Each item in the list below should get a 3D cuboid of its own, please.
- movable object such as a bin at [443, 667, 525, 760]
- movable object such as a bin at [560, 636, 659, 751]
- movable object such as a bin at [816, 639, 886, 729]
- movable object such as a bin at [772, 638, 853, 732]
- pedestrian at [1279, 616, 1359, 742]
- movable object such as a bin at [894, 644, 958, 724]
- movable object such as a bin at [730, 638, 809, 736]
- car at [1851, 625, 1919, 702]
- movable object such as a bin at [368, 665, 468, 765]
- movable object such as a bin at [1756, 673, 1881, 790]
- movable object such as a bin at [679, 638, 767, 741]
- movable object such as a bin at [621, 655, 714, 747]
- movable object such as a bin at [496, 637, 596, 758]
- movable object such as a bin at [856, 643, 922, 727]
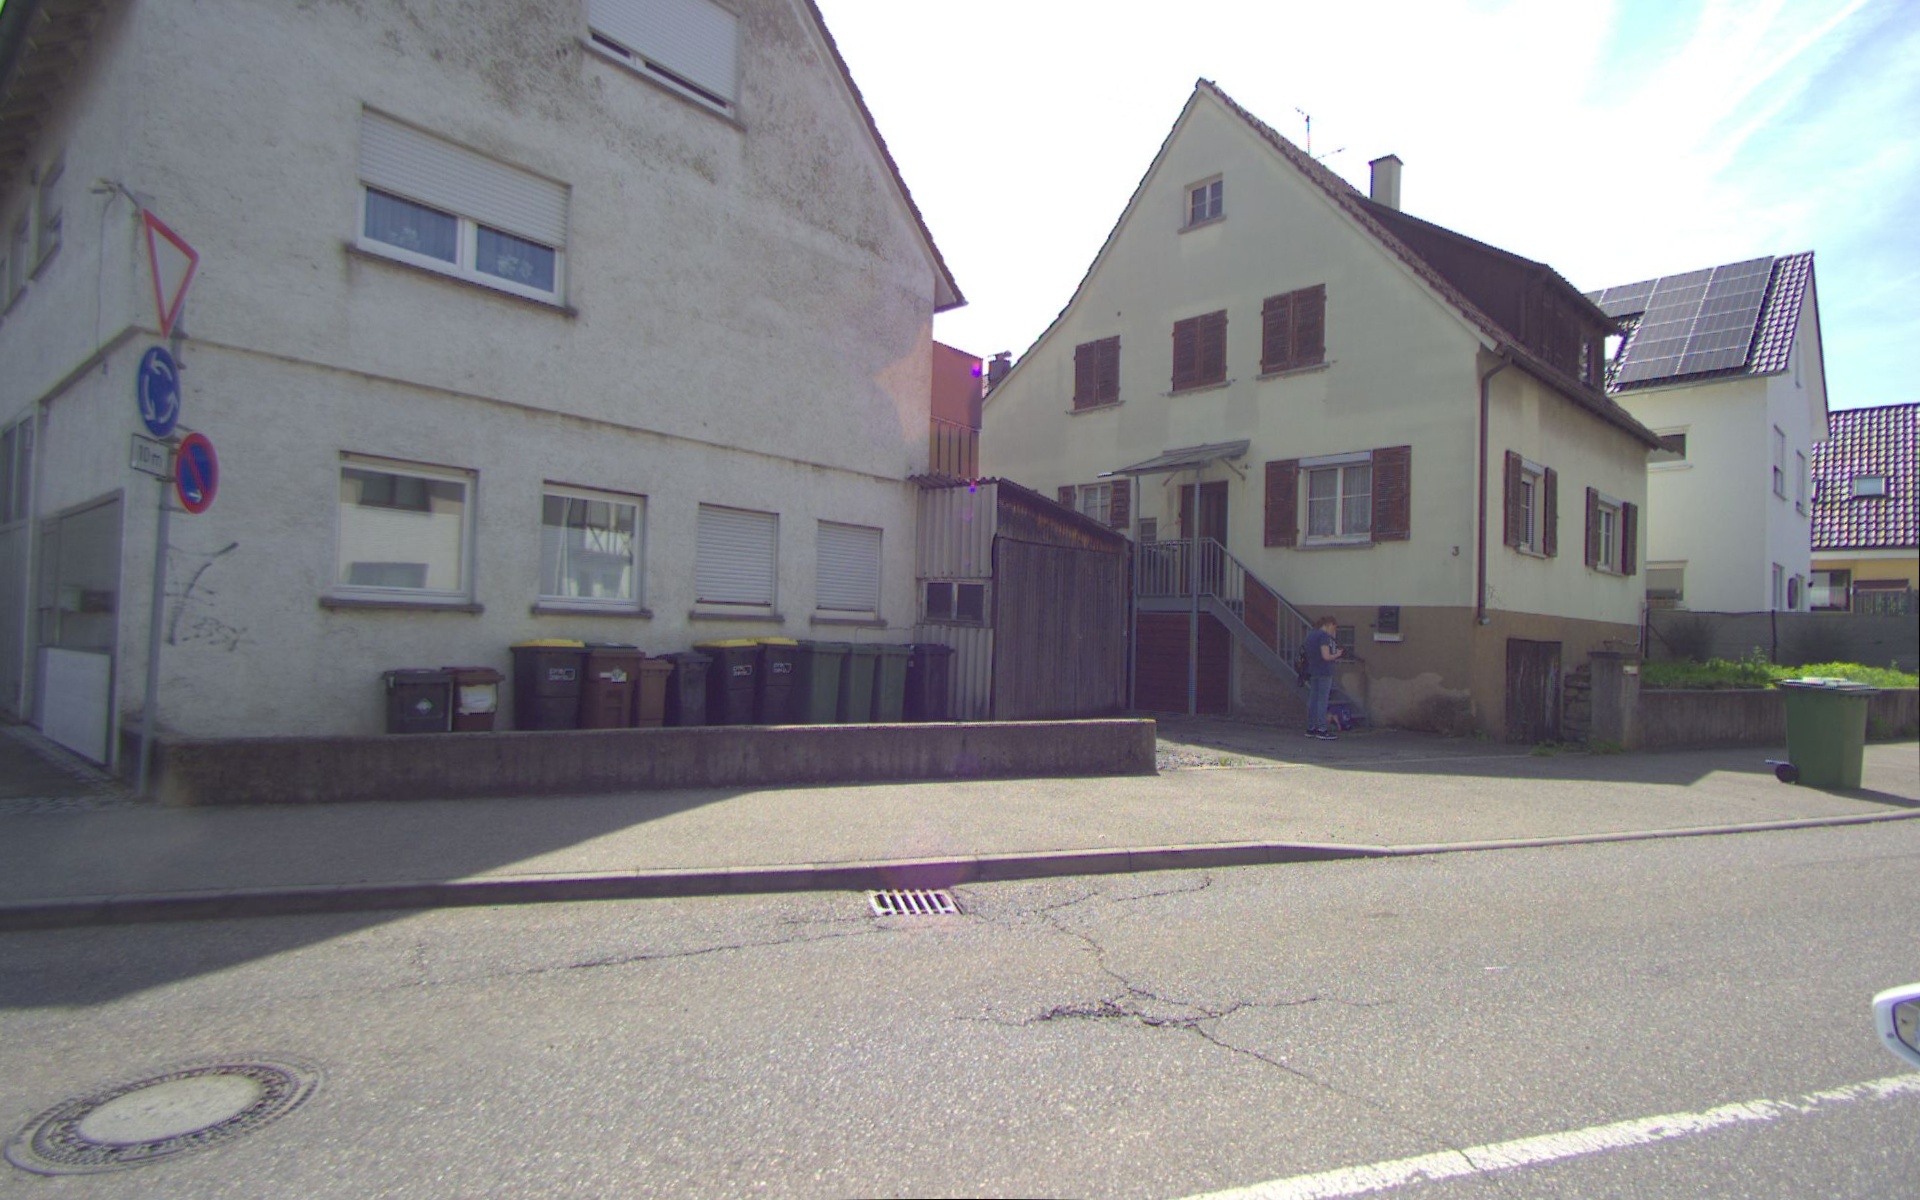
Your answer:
[{"bbox_3d":[-4.453,1.047,9.410,0.479,0.791,0.525,1,-1,38],"label":"movable object such as a bin"},{"bbox_3d":[-3.606,0.935,10.335,0.674,1.100,0.695,1,-1,38],"label":"movable object such as a bin"},{"bbox_3d":[-1.410,1.068,12.977,0.670,1.096,0.581,1,-1,38],"label":"movable object such as a bin"},{"bbox_3d":[-1.830,1.038,12.488,0.729,1.096,0.657,1,-1,38],"label":"movable object such as a bin"},{"bbox_3d":[4.737,1.012,13.275,0.621,1.595,0.772,1,0,-34],"label":"pedestrian"},{"bbox_3d":[-0.463,1.138,13.829,0.621,1.048,0.610,1,-1,38],"label":"movable object such as a bin"},{"bbox_3d":[-2.270,1.020,11.969,0.674,1.096,0.623,1,-1,38],"label":"movable object such as a bin"},{"bbox_3d":[22.000,1.400,21.296,1.982,1.644,4.368,3,-2,-37],"label":"car"},{"bbox_3d":[-4.828,1.005,8.950,0.479,0.816,0.643,1,-1,40],"label":"movable object such as a bin"},{"bbox_3d":[8.695,1.306,10.187,0.643,1.071,0.788,1,-1,-29],"label":"movable object such as a bin"},{"bbox_3d":[-2.695,0.996,11.444,0.674,1.096,0.695,1,-1,38],"label":"movable object such as a bin"},{"bbox_3d":[-3.170,1.072,10.908,0.674,0.908,0.695,1,-1,38],"label":"movable object such as a bin"},{"bbox_3d":[-4.033,0.926,9.795,0.674,1.100,0.642,1,-1,38],"label":"movable object such as a bin"},{"bbox_3d":[-0.947,1.114,13.390,0.619,1.049,0.601,1,-1,38],"label":"movable object such as a bin"}]
